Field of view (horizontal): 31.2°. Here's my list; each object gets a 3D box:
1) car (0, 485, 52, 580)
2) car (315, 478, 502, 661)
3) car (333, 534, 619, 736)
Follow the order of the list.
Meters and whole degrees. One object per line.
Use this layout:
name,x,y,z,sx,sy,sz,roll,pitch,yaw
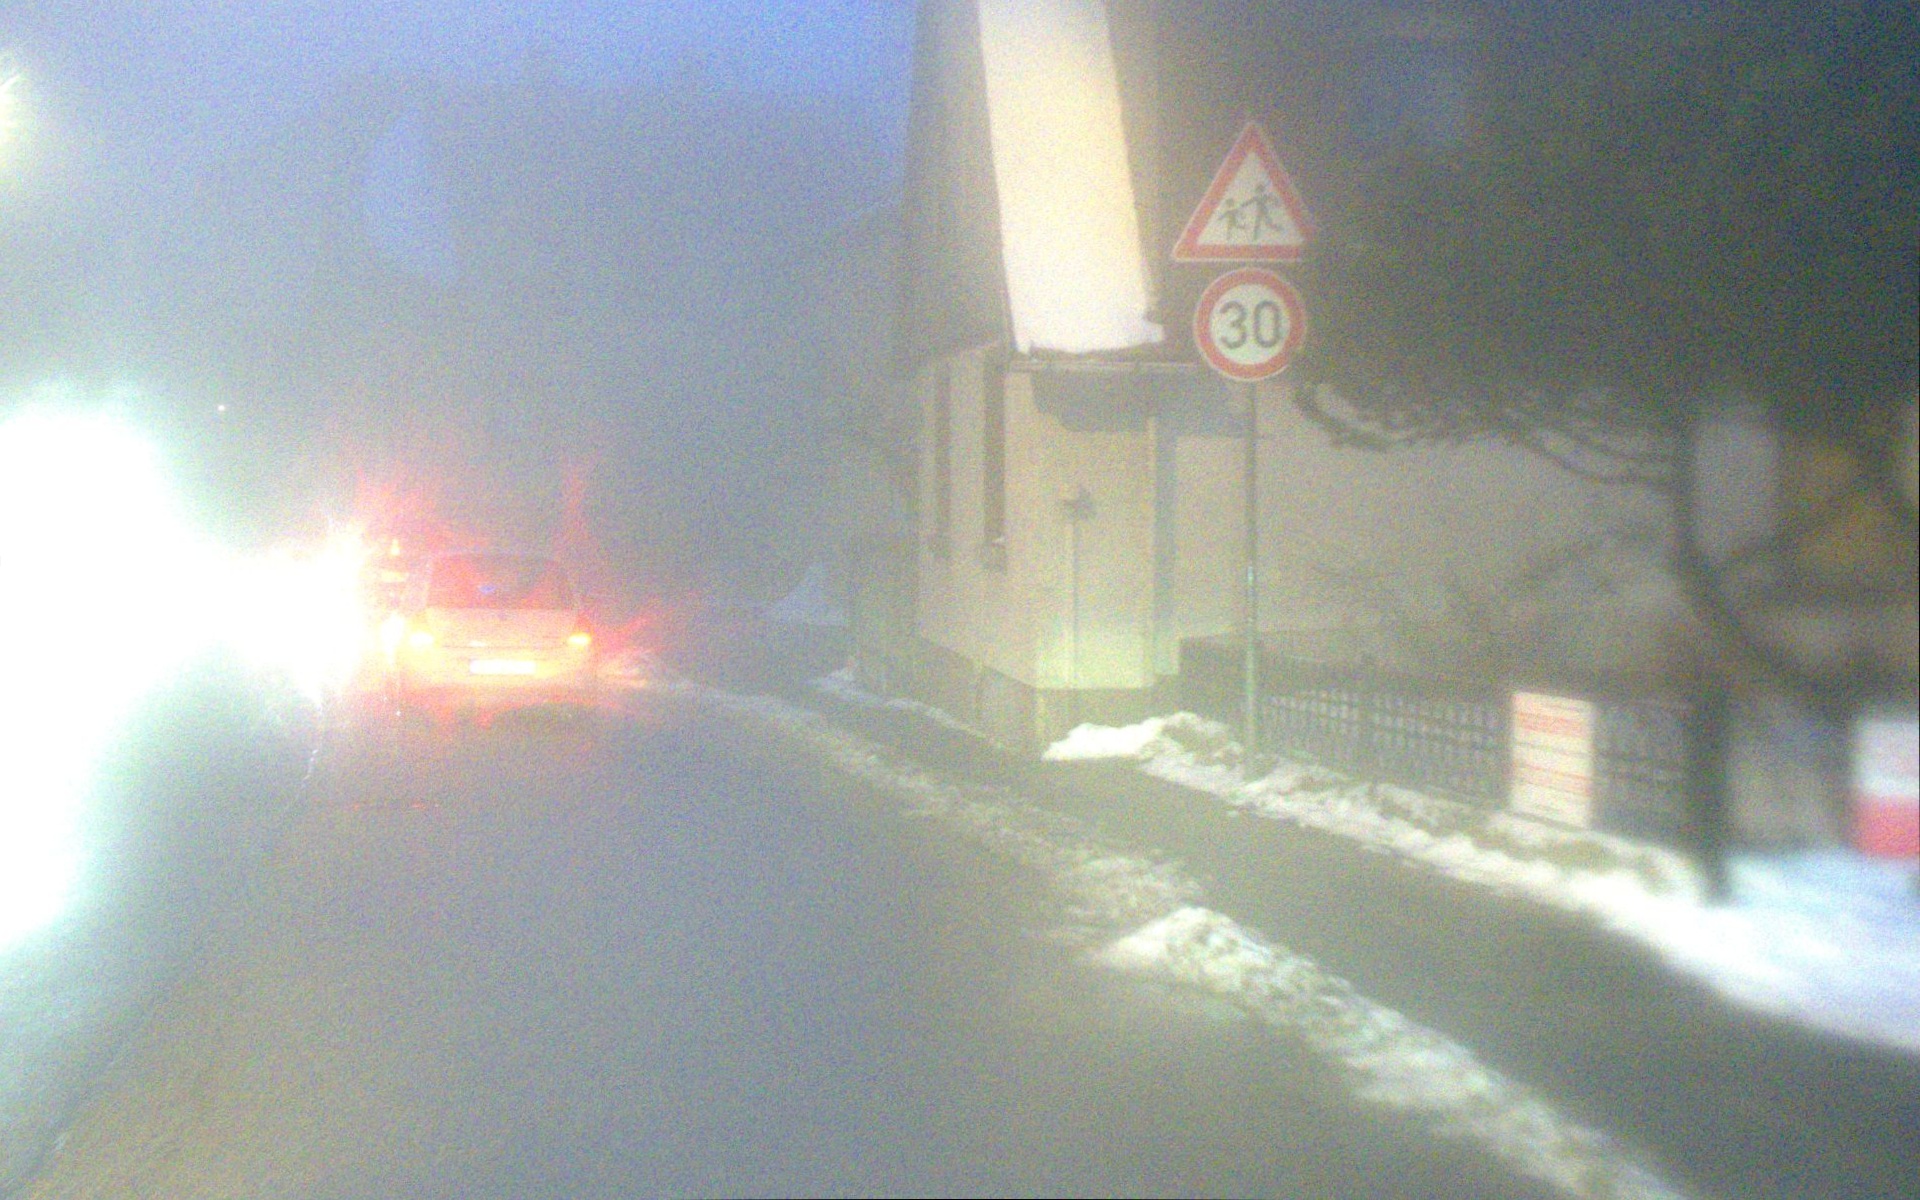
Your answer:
car,-17.688,-1.215,63.106,1.840,1.681,4.479,0,0,-13
car,-6.617,-0.334,41.601,1.993,2.007,4.001,3,-1,-7
car,-4.168,0.292,29.107,1.993,1.503,4.001,3,-1,-13
